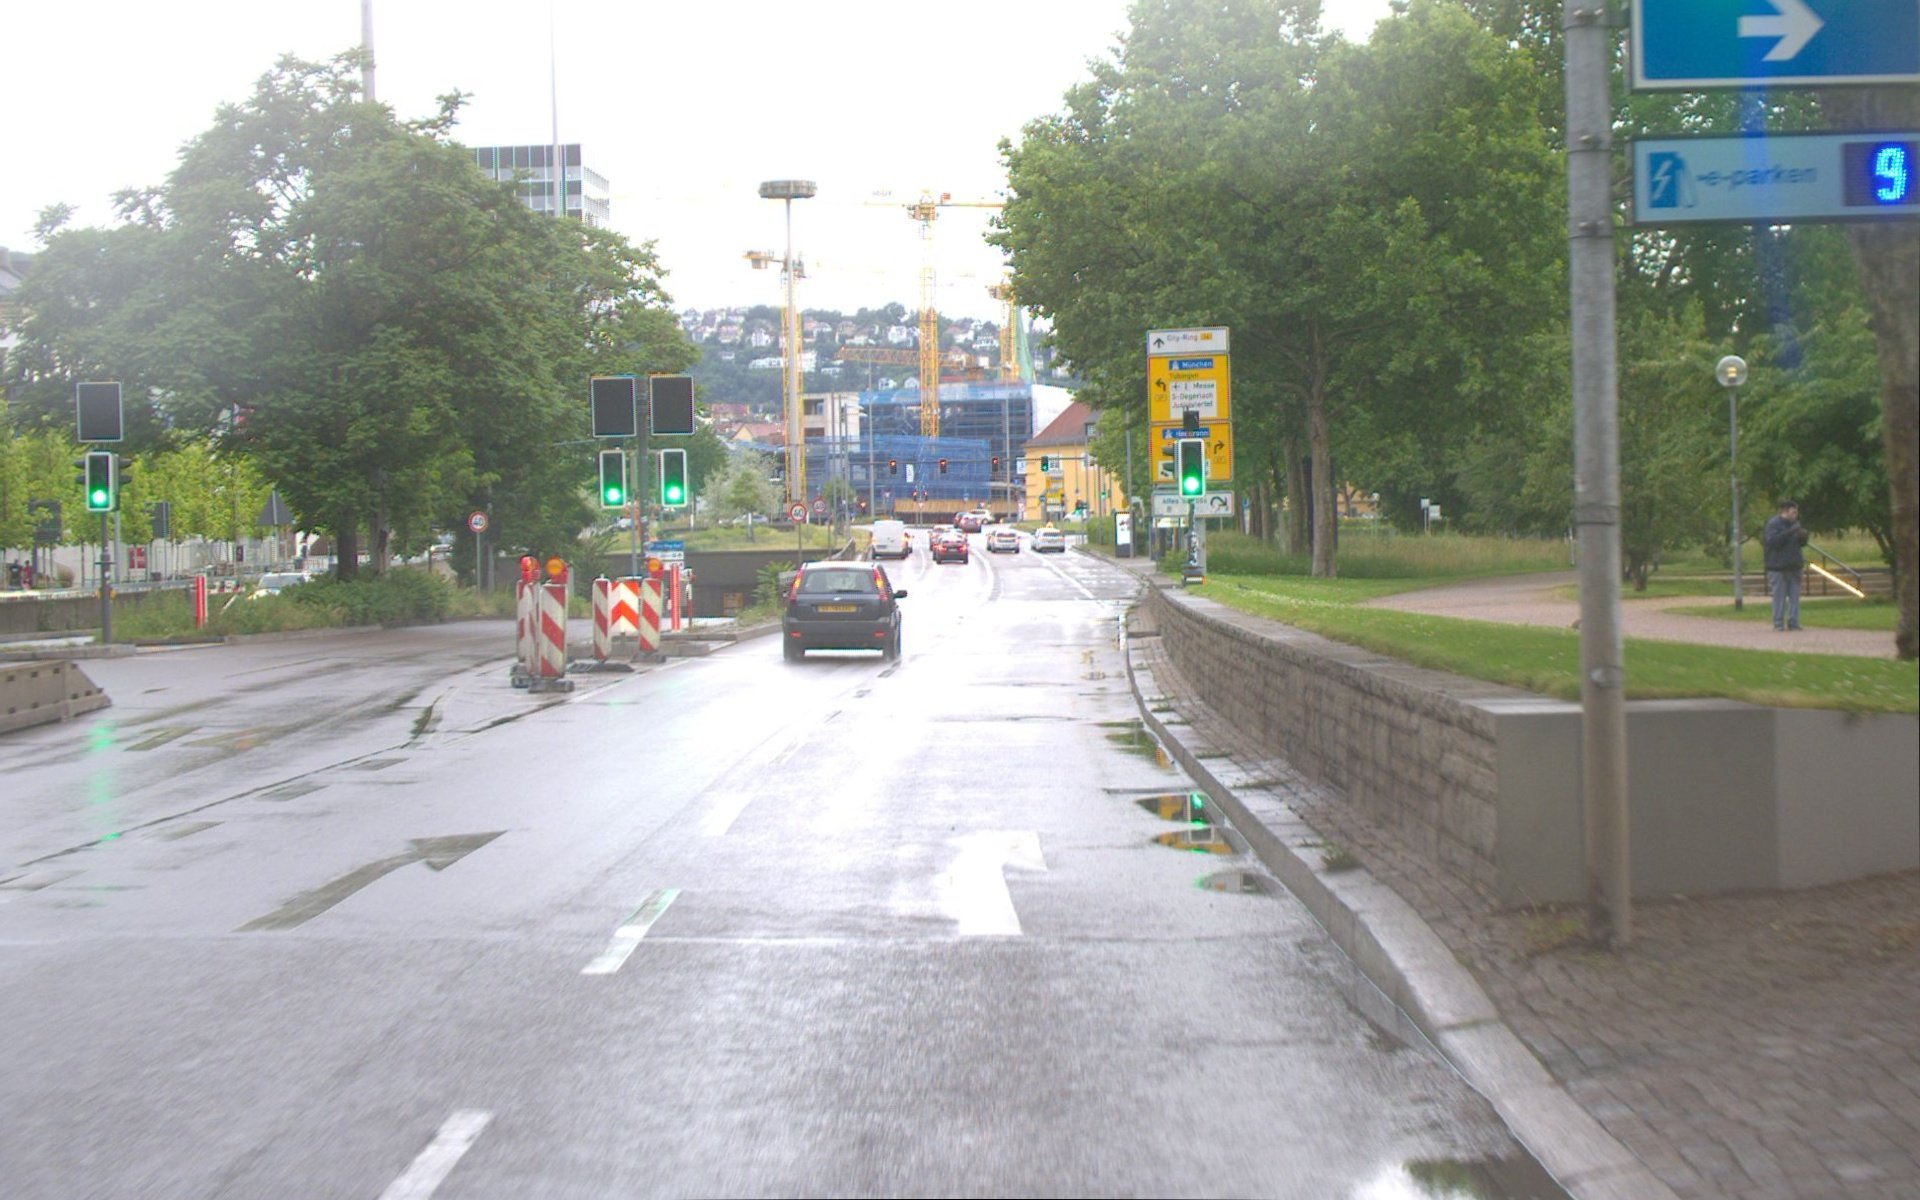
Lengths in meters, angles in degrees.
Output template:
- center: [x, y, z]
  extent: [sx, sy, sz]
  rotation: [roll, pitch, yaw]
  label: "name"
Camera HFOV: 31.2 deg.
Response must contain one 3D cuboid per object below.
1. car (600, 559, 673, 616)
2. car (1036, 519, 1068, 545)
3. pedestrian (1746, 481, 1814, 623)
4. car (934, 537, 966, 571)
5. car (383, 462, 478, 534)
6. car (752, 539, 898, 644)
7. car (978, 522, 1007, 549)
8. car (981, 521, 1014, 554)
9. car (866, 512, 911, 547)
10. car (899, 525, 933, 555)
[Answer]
- center: [-10.829, -0.440, 115.401]
  extent: [1.993, 1.775, 4.000]
  rotation: [-2, 1, 1]
  label: "car"
- center: [6.053, -4.459, 225.980]
  extent: [1.994, 1.594, 4.000]
  rotation: [-3, 0, 2]
  label: "car"
- center: [10.295, -0.607, 43.175]
  extent: [0.594, 1.749, 0.725]
  rotation: [-3, 1, -3]
  label: "pedestrian"
- center: [-0.593, -2.622, 196.881]
  extent: [1.739, 1.765, 4.000]
  rotation: [-3, 0, 0]
  label: "car"
- center: [-12.772, -2.451, 83.080]
  extent: [1.993, 1.626, 4.001]
  rotation: [-1, 1, -5]
  label: "car"
- center: [-2.040, -0.107, 50.956]
  extent: [1.843, 1.411, 3.840]
  rotation: [-3, 0, -6]
  label: "car"
- center: [2.166, -4.279, 228.580]
  extent: [1.713, 1.684, 3.849]
  rotation: [-3, 0, 2]
  label: "car"
- center: [2.409, -4.037, 223.301]
  extent: [1.987, 2.007, 4.000]
  rotation: [-3, 0, 0]
  label: "car"
- center: [-4.282, -4.227, 206.981]
  extent: [2.220, 2.007, 3.999]
  rotation: [0, 0, 6]
  label: "car"
- center: [-2.905, -3.954, 227.196]
  extent: [1.994, 1.776, 4.000]
  rotation: [-3, 0, 2]
  label: "car"
